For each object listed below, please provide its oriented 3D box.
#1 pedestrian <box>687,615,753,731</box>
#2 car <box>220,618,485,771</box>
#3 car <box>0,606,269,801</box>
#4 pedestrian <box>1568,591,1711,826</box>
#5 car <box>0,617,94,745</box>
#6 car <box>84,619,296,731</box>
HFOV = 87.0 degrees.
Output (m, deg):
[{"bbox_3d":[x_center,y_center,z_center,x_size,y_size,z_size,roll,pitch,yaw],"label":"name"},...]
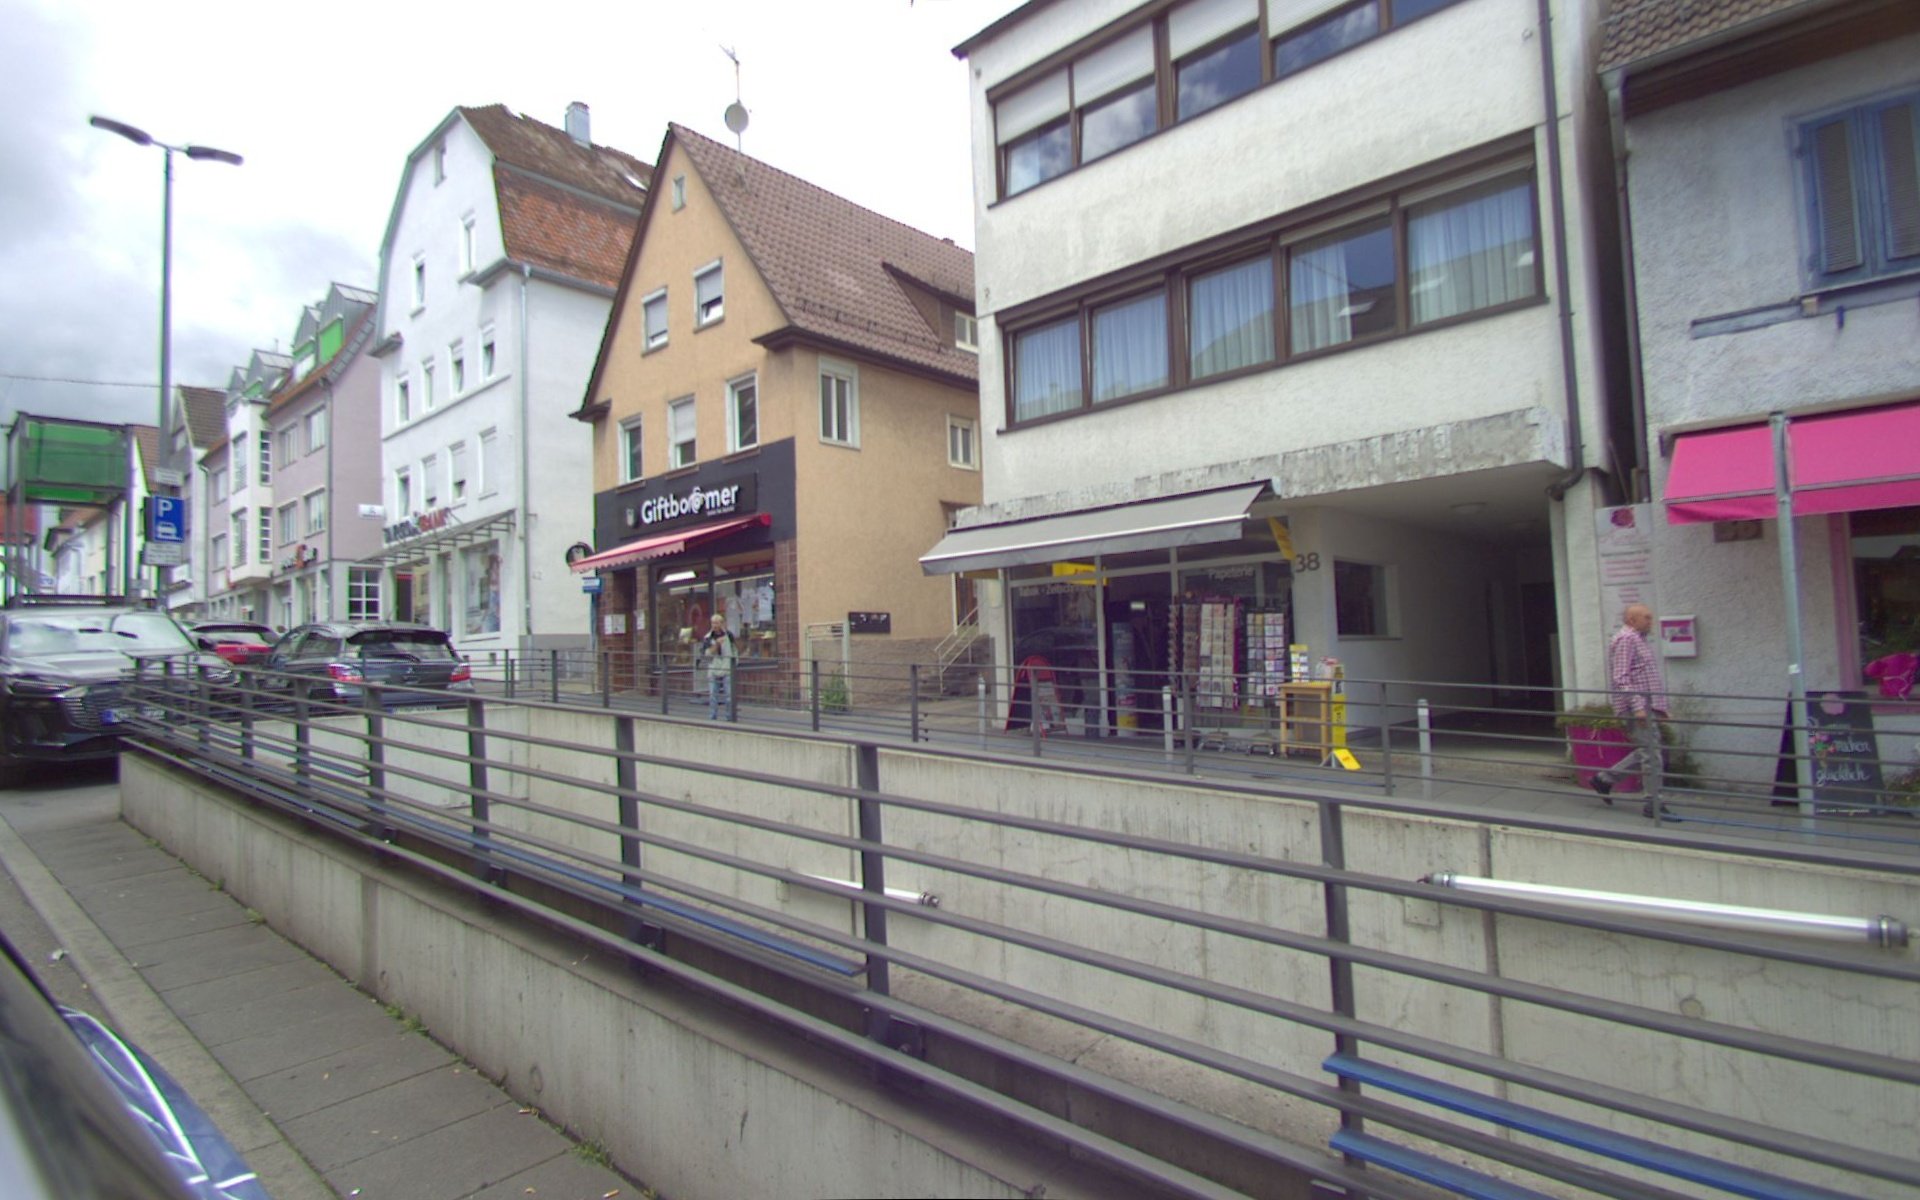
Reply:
[{"bbox_3d":[-3.693,1.103,15.590,0.664,1.727,0.739,-2,-3,42],"label":"pedestrian"},{"bbox_3d":[-7.520,1.029,12.383,3.897,1.559,1.681,-2,-1,41],"label":"car"},{"bbox_3d":[-8.938,0.889,10.327,4.427,1.578,1.974,-2,-1,40],"label":"car"},{"bbox_3d":[5.446,0.828,8.114,0.825,1.753,0.686,-2,-3,43],"label":"pedestrian"},{"bbox_3d":[-13.558,1.082,14.280,3.531,1.622,1.556,-2,-1,41],"label":"car"},{"bbox_3d":[-12.915,1.146,16.875,4.492,1.601,1.973,-2,-1,41],"label":"car"}]
